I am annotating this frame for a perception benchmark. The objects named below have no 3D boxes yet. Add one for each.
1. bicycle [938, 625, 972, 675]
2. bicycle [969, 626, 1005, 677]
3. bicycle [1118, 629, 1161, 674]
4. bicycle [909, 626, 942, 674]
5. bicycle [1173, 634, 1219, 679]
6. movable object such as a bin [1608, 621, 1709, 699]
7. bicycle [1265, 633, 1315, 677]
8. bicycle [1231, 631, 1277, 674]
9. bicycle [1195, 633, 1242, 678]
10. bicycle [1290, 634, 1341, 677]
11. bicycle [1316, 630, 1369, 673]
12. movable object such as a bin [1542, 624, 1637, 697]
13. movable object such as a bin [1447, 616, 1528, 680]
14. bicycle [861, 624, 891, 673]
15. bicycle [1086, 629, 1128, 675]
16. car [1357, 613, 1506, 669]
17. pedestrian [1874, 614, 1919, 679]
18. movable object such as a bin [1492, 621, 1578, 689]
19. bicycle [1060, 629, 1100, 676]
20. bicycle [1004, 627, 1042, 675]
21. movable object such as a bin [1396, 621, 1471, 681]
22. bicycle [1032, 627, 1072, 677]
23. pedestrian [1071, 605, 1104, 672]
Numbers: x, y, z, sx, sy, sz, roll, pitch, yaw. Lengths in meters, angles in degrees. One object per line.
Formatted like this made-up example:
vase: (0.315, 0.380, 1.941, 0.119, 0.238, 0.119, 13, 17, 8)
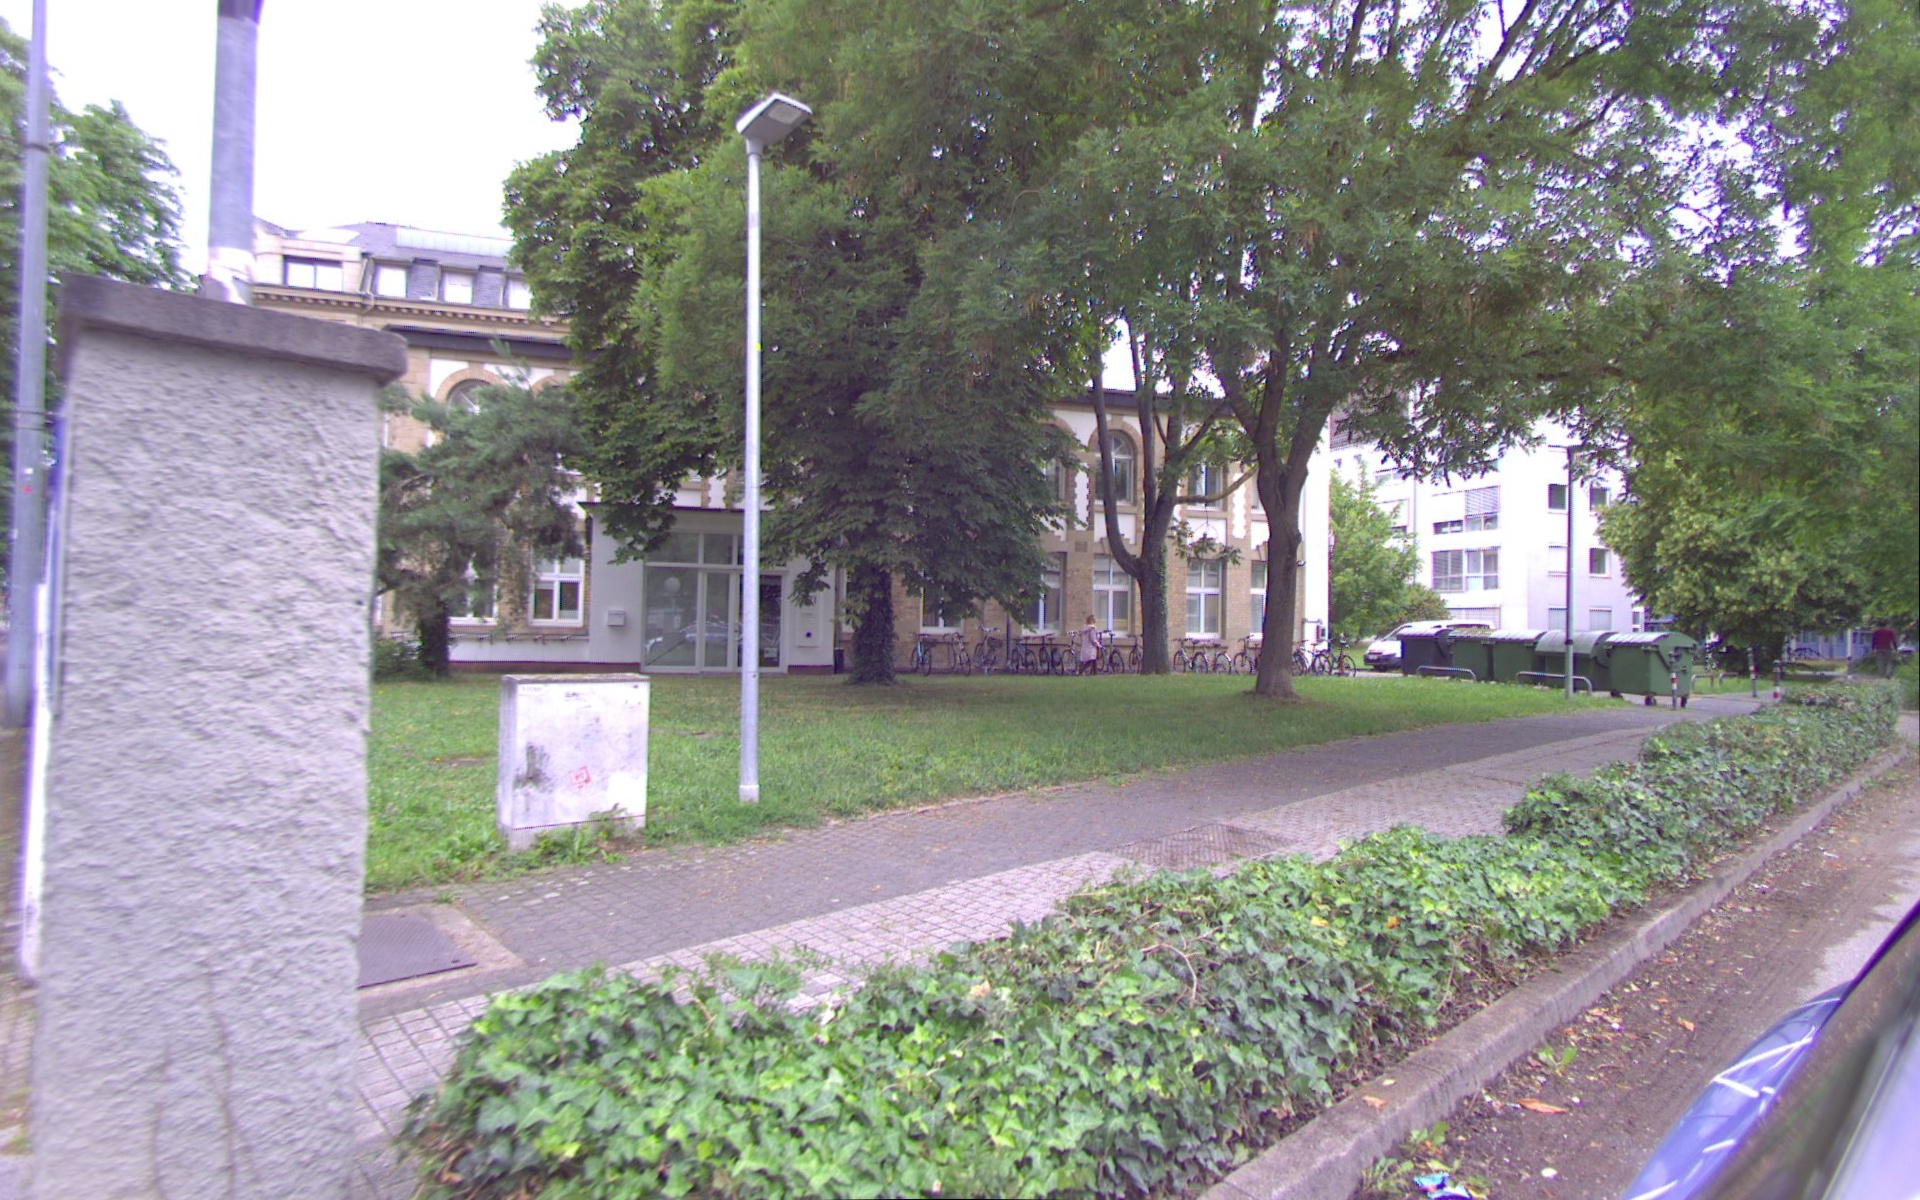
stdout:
bicycle: (-0.135, 1.235, 25.451, 0.451, 1.128, 1.748, 2, 1, -13)
bicycle: (0.678, 1.274, 25.607, 0.451, 1.128, 1.748, 2, 2, -13)
bicycle: (4.742, 1.350, 26.850, 0.451, 1.129, 1.748, 2, -1, -13)
bicycle: (-0.865, 1.218, 25.045, 0.451, 1.129, 1.747, 2, -1, -13)
bicycle: (6.319, 1.508, 27.164, 0.451, 1.129, 1.747, 2, -1, -13)
movable object such as a bin: (13.712, 1.155, 19.910, 1.050, 1.452, 1.276, 1, -1, -6)
bicycle: (9.102, 1.498, 27.966, 0.451, 1.129, 1.747, 2, -1, -13)
bicycle: (8.028, 1.419, 27.689, 0.451, 1.129, 1.747, 2, -1, -11)
bicycle: (6.966, 1.475, 27.336, 0.451, 1.129, 1.747, 2, -1, -13)
bicycle: (9.870, 1.527, 28.171, 0.451, 1.129, 1.747, 2, -1, -13)
bicycle: (10.716, 1.426, 28.402, 0.451, 1.129, 1.748, 2, -1, -14)
movable object such as a bin: (13.222, 1.255, 21.297, 1.085, 1.469, 1.288, 1, -2, -13)
movable object such as a bin: (12.596, 1.135, 24.204, 1.085, 1.469, 1.329, 2, -2, -22)
bicycle: (-2.057, 1.167, 24.681, 0.451, 1.129, 1.747, 2, -1, -13)
bicycle: (3.814, 1.333, 26.389, 0.451, 1.129, 1.747, 2, -1, -13)
car: (17.047, 1.508, 36.655, 4.673, 1.898, 1.904, 1, -4, -13)
pedestrian: (30.959, 1.528, 33.347, 1.175, 2.091, 0.796, 2, -2, -19)
movable object such as a bin: (12.926, 1.212, 22.785, 1.085, 1.469, 1.297, 1, -2, -19)
bicycle: (3.101, 1.342, 26.215, 0.451, 1.129, 1.747, 2, -1, -13)
bicycle: (1.593, 1.286, 25.846, 0.451, 1.129, 1.748, 2, 0, -13)
movable object such as a bin: (11.986, 1.281, 25.662, 1.085, 1.469, 1.365, 1, -2, -20)
bicycle: (2.351, 1.321, 26.049, 0.451, 1.128, 1.748, 2, 1, -13)
pedestrian: (3.113, 0.933, 24.759, 0.614, 1.607, 0.605, 1, -2, -14)
